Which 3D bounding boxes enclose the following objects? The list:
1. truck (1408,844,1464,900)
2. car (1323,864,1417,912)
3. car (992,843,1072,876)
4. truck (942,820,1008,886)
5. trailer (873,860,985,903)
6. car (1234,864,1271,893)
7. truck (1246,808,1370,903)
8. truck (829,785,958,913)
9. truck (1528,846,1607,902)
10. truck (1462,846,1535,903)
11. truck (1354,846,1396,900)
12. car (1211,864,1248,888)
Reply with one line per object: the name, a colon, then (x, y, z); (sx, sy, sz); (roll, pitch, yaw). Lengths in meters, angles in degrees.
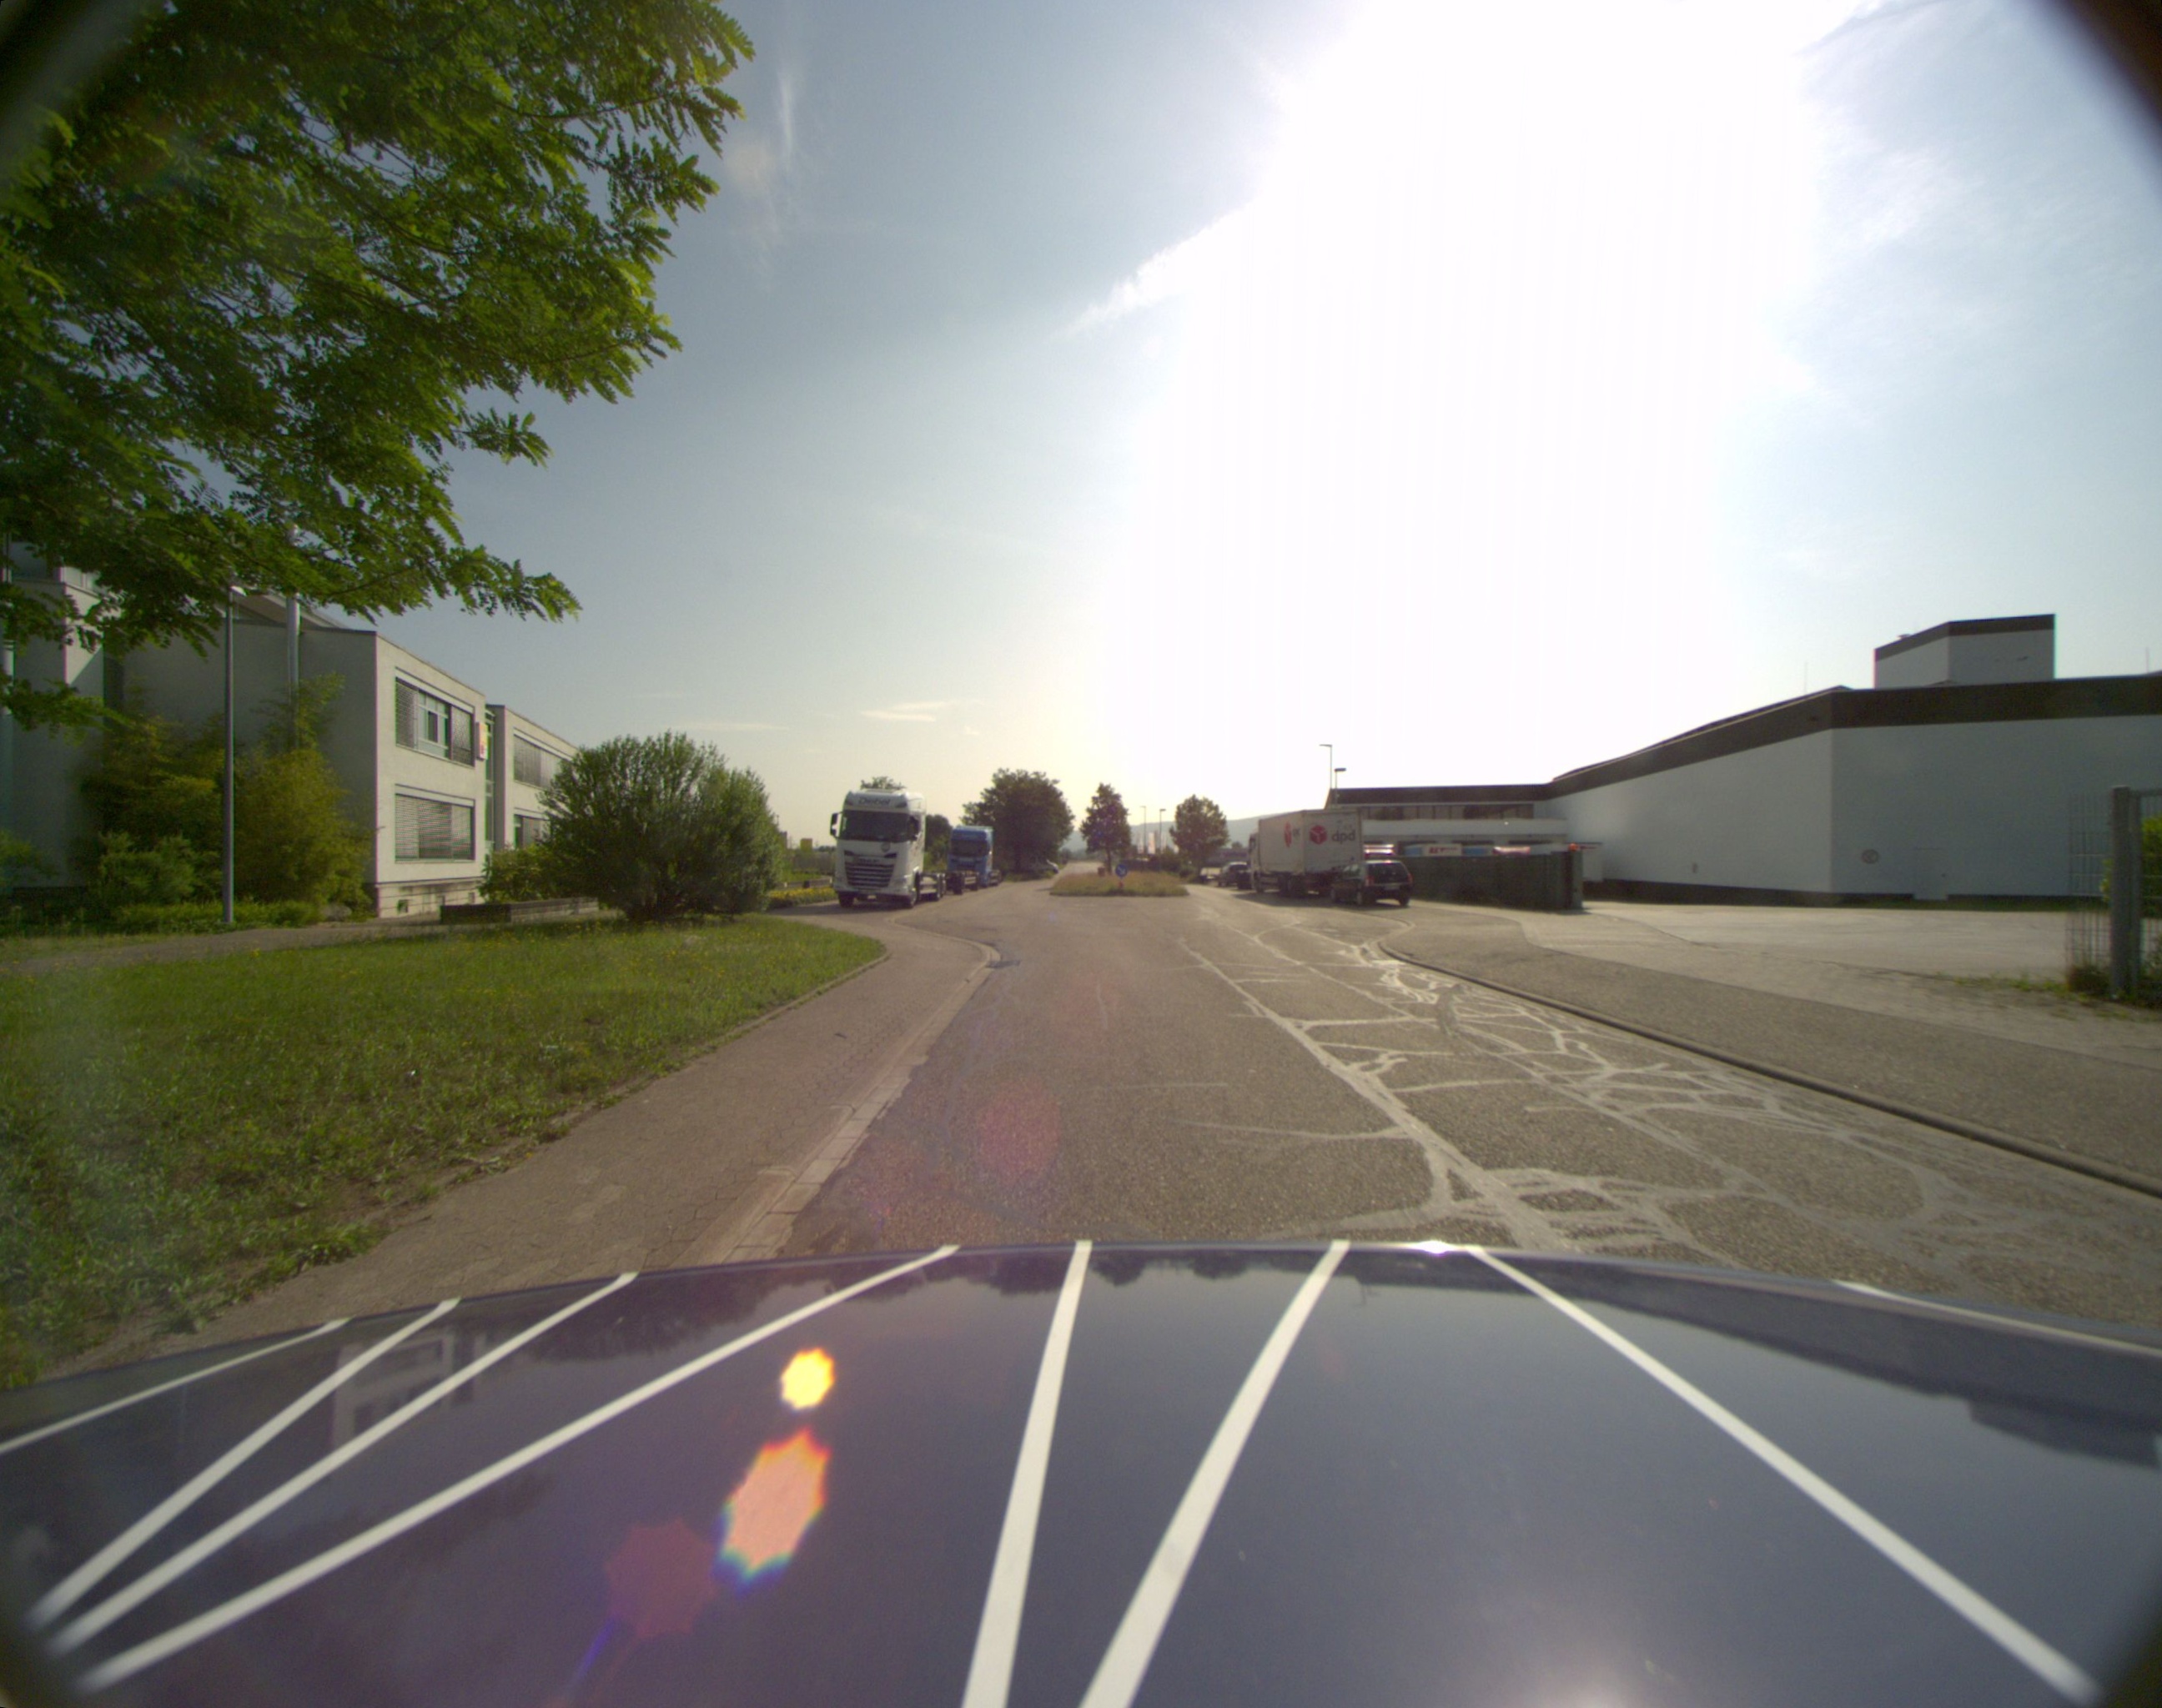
truck: (28.688, 1.370, 61.797); (3.035, 4.112, 9.252); (1, 0, 18)
car: (10.601, 1.207, 28.205); (1.767, 1.582, 4.193); (-1, 0, -1)
car: (-5.178, 0.575, 79.466); (8.151, 3.217, 2.663); (-1, 0, -5)
truck: (-6.822, -0.033, 50.499); (3.044, 3.916, 10.577); (0, 0, -1)
trailer: (-6.715, 1.117, 36.194); (2.553, 1.383, 14.135); (2, 0, 0)
car: (10.198, 1.440, 45.417); (1.442, 1.597, 3.167); (1, 0, 0)
truck: (10.556, 0.069, 36.706); (2.784, 3.831, 10.062); (-2, 0, 0)
truck: (-6.636, -0.150, 28.342); (2.559, 3.958, 8.580); (2, 0, 0)
truck: (37.635, 1.453, 59.133); (2.903, 4.032, 9.252); (1, 0, 18)
truck: (33.002, 1.521, 60.599); (2.784, 4.021, 12.372); (1, 0, 18)
truck: (23.422, 1.399, 60.863); (2.653, 3.955, 9.252); (1, 0, 18)
car: (10.106, 1.472, 51.887); (1.735, 1.573, 3.966); (-1, 0, 0)
